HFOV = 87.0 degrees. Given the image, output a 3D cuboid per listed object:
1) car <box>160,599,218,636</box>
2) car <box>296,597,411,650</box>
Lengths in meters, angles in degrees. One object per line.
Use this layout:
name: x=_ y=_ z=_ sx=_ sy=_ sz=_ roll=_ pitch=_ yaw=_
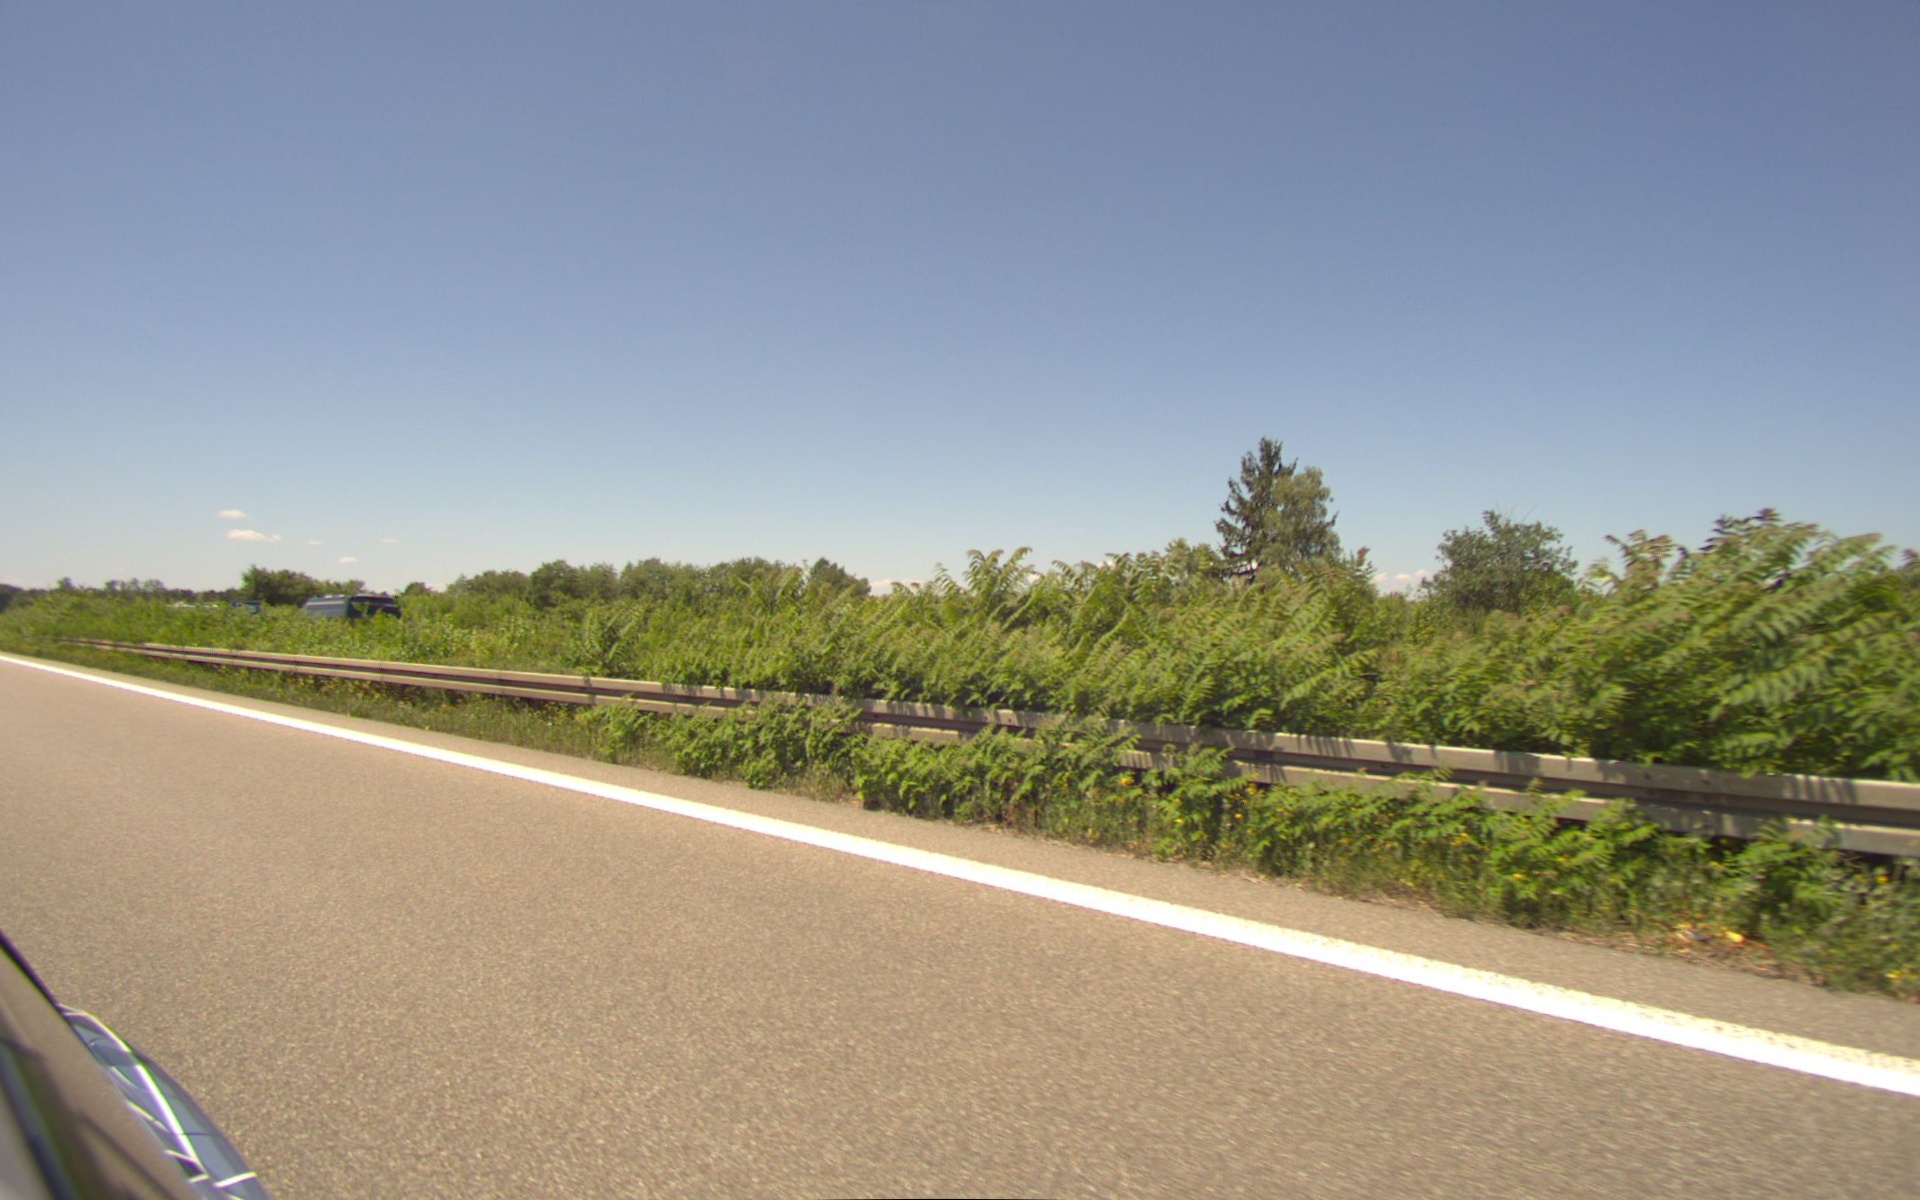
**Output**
car: x=-59.214 y=1.360 z=77.679 sx=5.516 sy=2.729 sz=2.444 roll=-1 pitch=0 yaw=41
car: x=-23.578 y=0.879 z=39.252 sx=5.516 sy=1.913 sz=2.235 roll=-1 pitch=0 yaw=41
